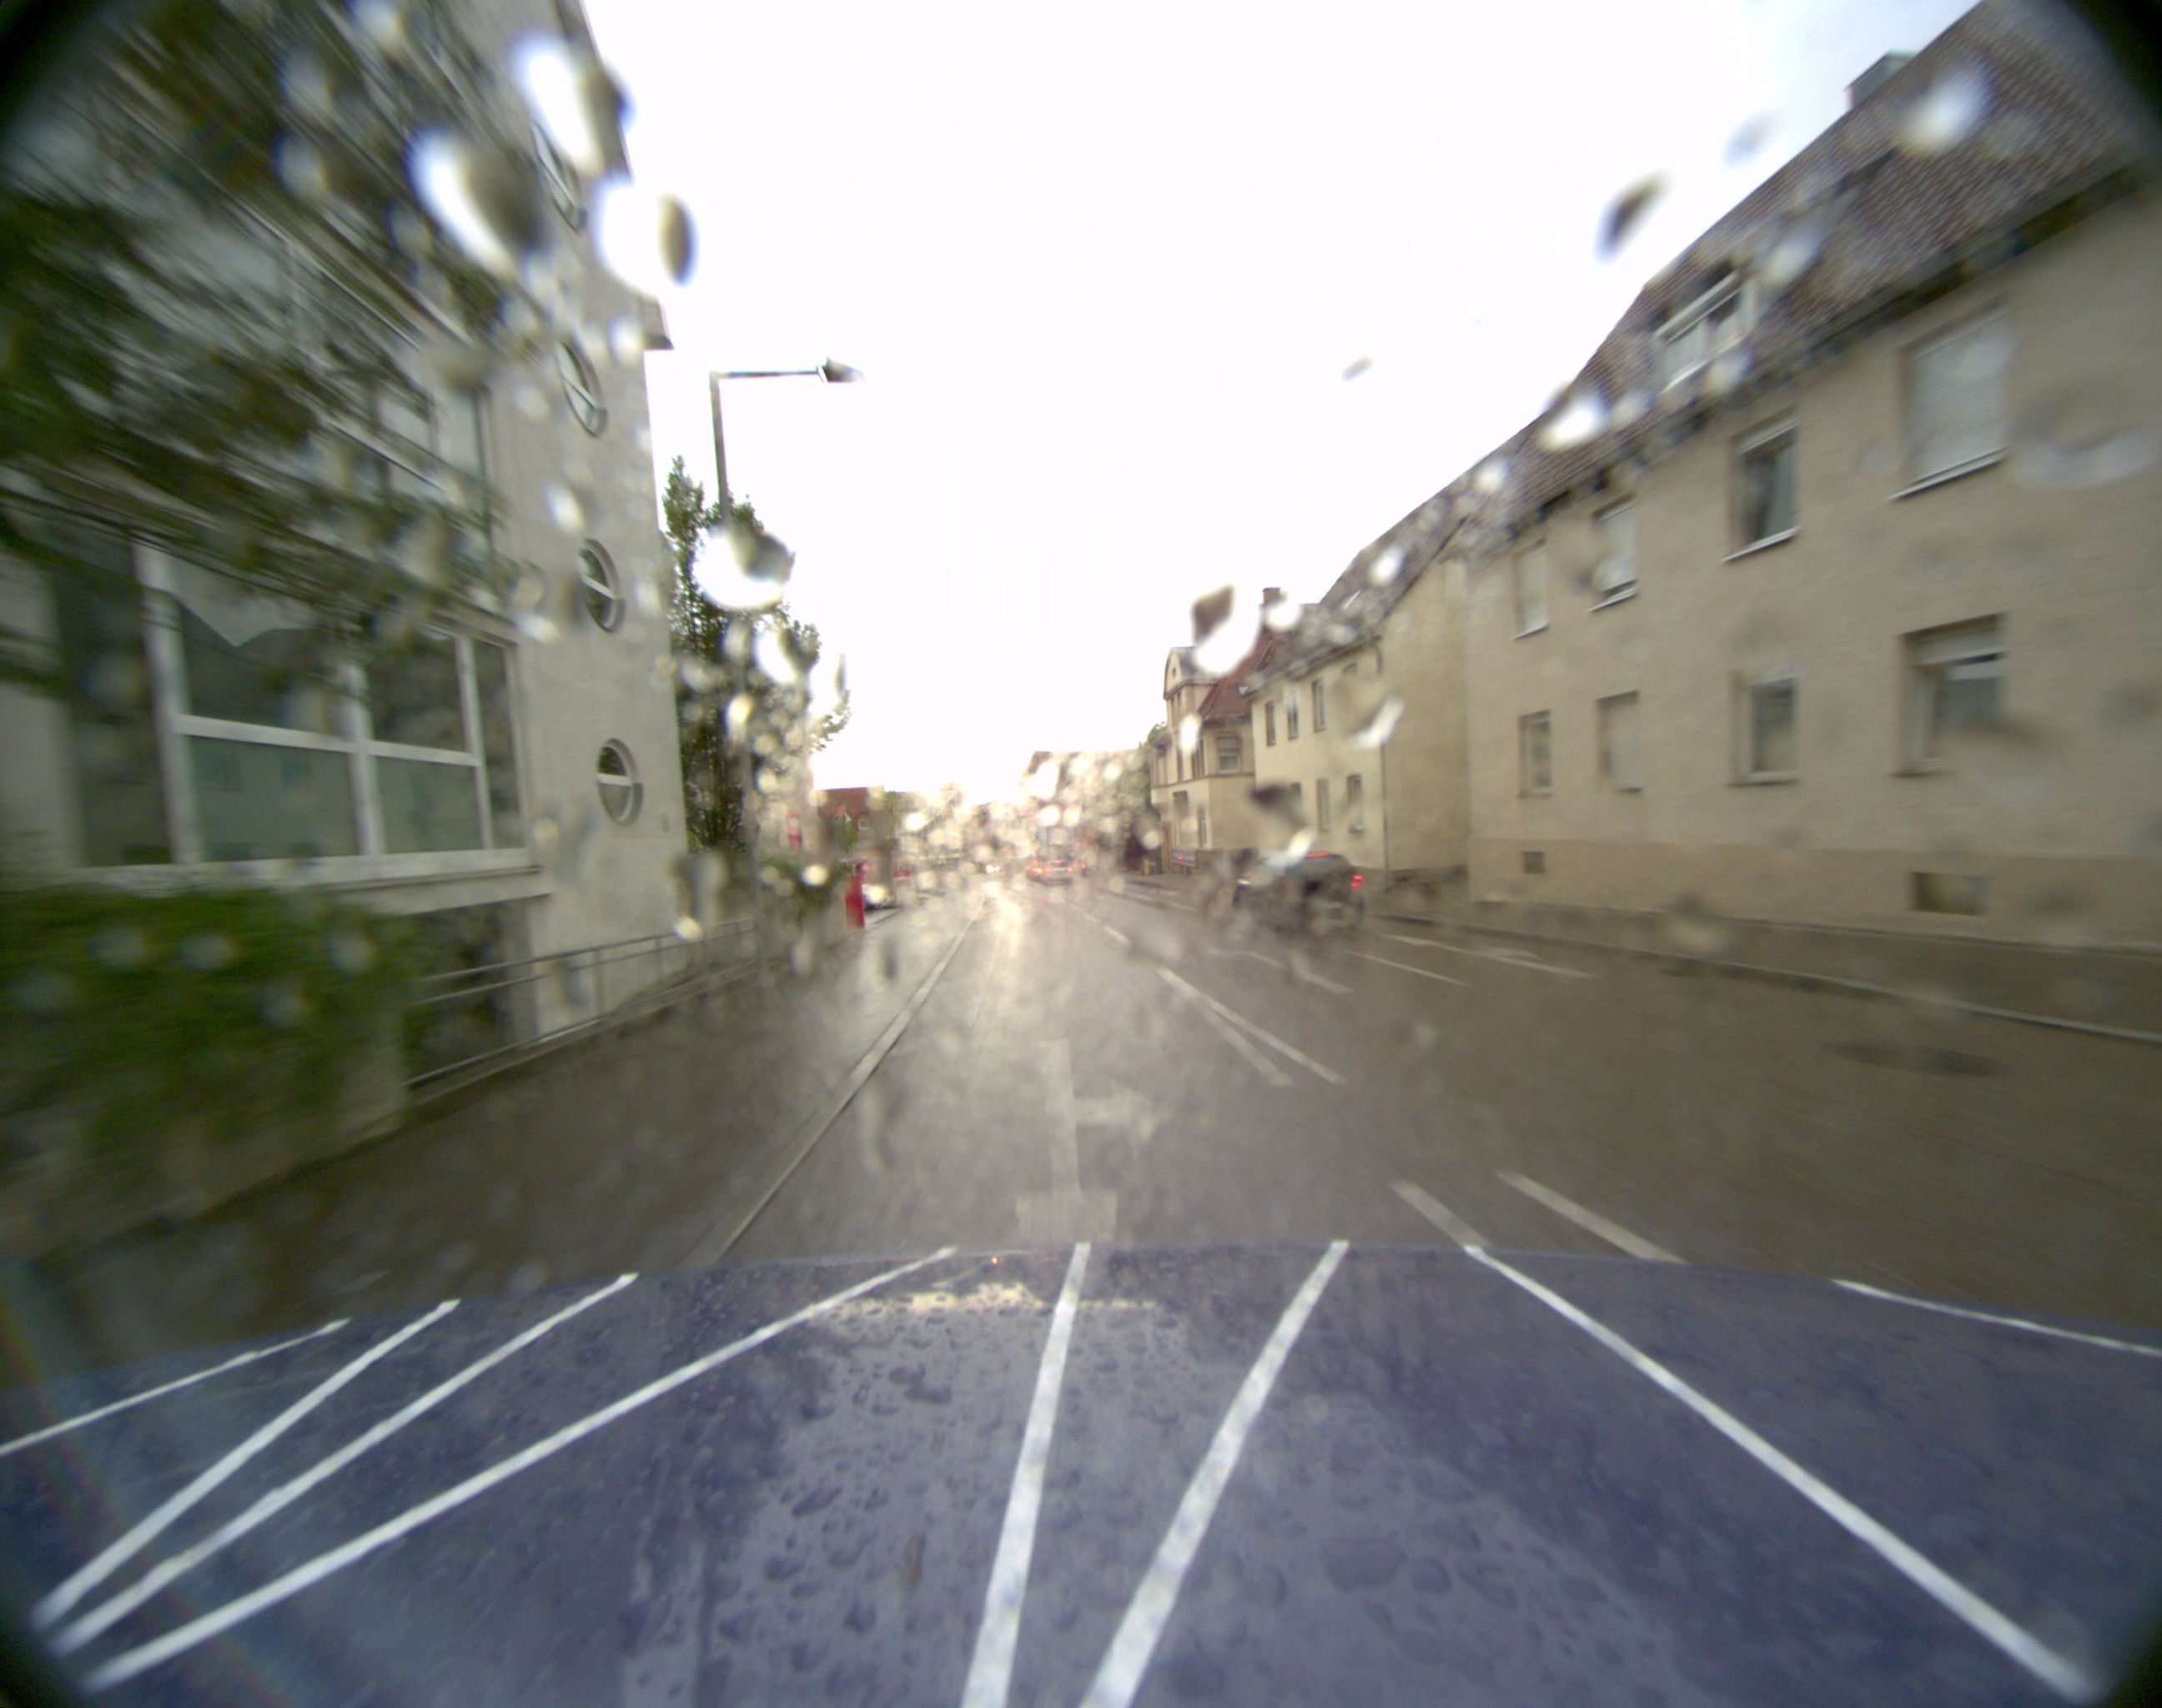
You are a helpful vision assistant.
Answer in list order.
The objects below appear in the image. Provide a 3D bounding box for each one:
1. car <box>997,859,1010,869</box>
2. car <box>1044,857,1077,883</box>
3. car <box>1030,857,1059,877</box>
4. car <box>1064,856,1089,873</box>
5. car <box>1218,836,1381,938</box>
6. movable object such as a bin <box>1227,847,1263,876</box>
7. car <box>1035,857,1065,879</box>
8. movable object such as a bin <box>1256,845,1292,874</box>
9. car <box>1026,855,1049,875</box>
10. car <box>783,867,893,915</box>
[{"bbox_3d":[-12.192,1.549,119.138,1.728,1.538,3.997,-4,0,-10],"label":"car"},{"bbox_3d":[-1.343,0.940,47.670,1.804,1.431,4.687,-4,0,-4],"label":"car"},{"bbox_3d":[-3.009,1.055,61.845,1.947,1.432,5.013,-4,0,-7],"label":"car"},{"bbox_3d":[-0.422,0.920,69.143,1.743,1.346,4.057,-4,0,-7],"label":"car"},{"bbox_3d":[4.108,0.555,14.967,1.750,1.562,3.811,-7,1,-4],"label":"car"},{"bbox_3d":[7.688,0.355,35.629,1.283,1.259,1.050,-4,0,-7],"label":"movable object such as a bin"},{"bbox_3d":[-2.304,1.003,55.875,1.804,1.431,4.686,-4,0,-6],"label":"car"},{"bbox_3d":[9.035,0.264,35.593,1.283,1.259,1.050,-4,0,-7],"label":"movable object such as a bin"},{"bbox_3d":[-3.974,0.985,69.049,1.854,1.653,4.217,-4,0,-5],"label":"car"},{"bbox_3d":[-9.396,1.393,29.590,3.678,1.494,1.775,-5,0,-6],"label":"car"}]
